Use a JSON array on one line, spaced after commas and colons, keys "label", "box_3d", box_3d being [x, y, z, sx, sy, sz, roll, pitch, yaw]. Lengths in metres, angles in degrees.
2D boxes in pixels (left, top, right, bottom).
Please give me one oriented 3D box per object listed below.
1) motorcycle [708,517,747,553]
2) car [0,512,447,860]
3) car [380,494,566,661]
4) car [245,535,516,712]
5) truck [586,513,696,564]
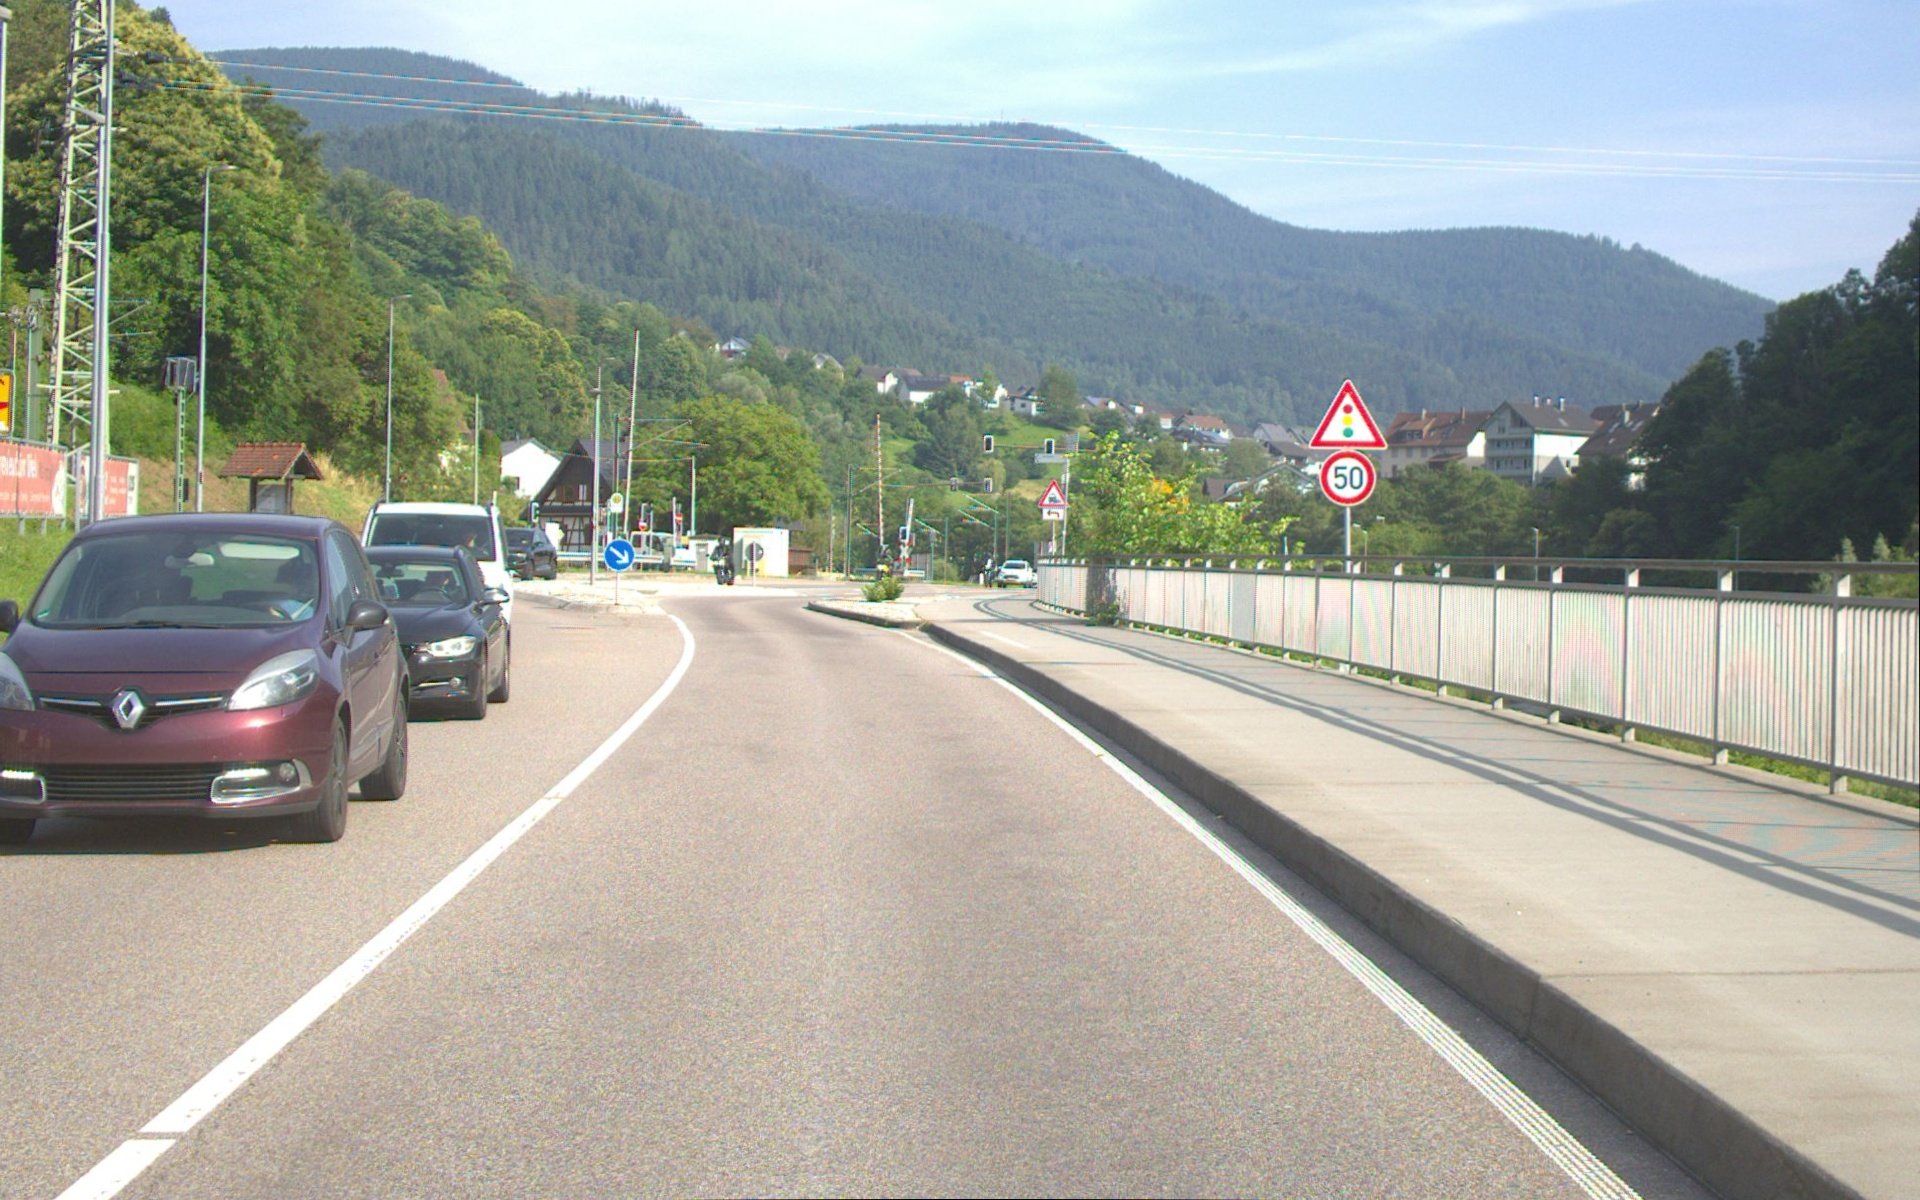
[{"label": "motorcycle", "box_3d": [-8.032, -2.248, 118.783, 0.894, 1.179, 2.306, 2, 1, -15]}, {"label": "car", "box_3d": [-3.916, 0.348, 18.166, 1.797, 1.612, 4.463, 0, 1, -1]}, {"label": "car", "box_3d": [-5.833, -0.302, 41.721, 1.896, 1.881, 5.297, -1, 1, -5]}, {"label": "car", "box_3d": [-4.854, 0.143, 29.312, 1.773, 1.394, 4.234, 0, 1, -3]}, {"label": "truck", "box_3d": [-16.278, -3.156, 175.375, 5.999, 2.258, 1.995, 6, 5, 42]}]
